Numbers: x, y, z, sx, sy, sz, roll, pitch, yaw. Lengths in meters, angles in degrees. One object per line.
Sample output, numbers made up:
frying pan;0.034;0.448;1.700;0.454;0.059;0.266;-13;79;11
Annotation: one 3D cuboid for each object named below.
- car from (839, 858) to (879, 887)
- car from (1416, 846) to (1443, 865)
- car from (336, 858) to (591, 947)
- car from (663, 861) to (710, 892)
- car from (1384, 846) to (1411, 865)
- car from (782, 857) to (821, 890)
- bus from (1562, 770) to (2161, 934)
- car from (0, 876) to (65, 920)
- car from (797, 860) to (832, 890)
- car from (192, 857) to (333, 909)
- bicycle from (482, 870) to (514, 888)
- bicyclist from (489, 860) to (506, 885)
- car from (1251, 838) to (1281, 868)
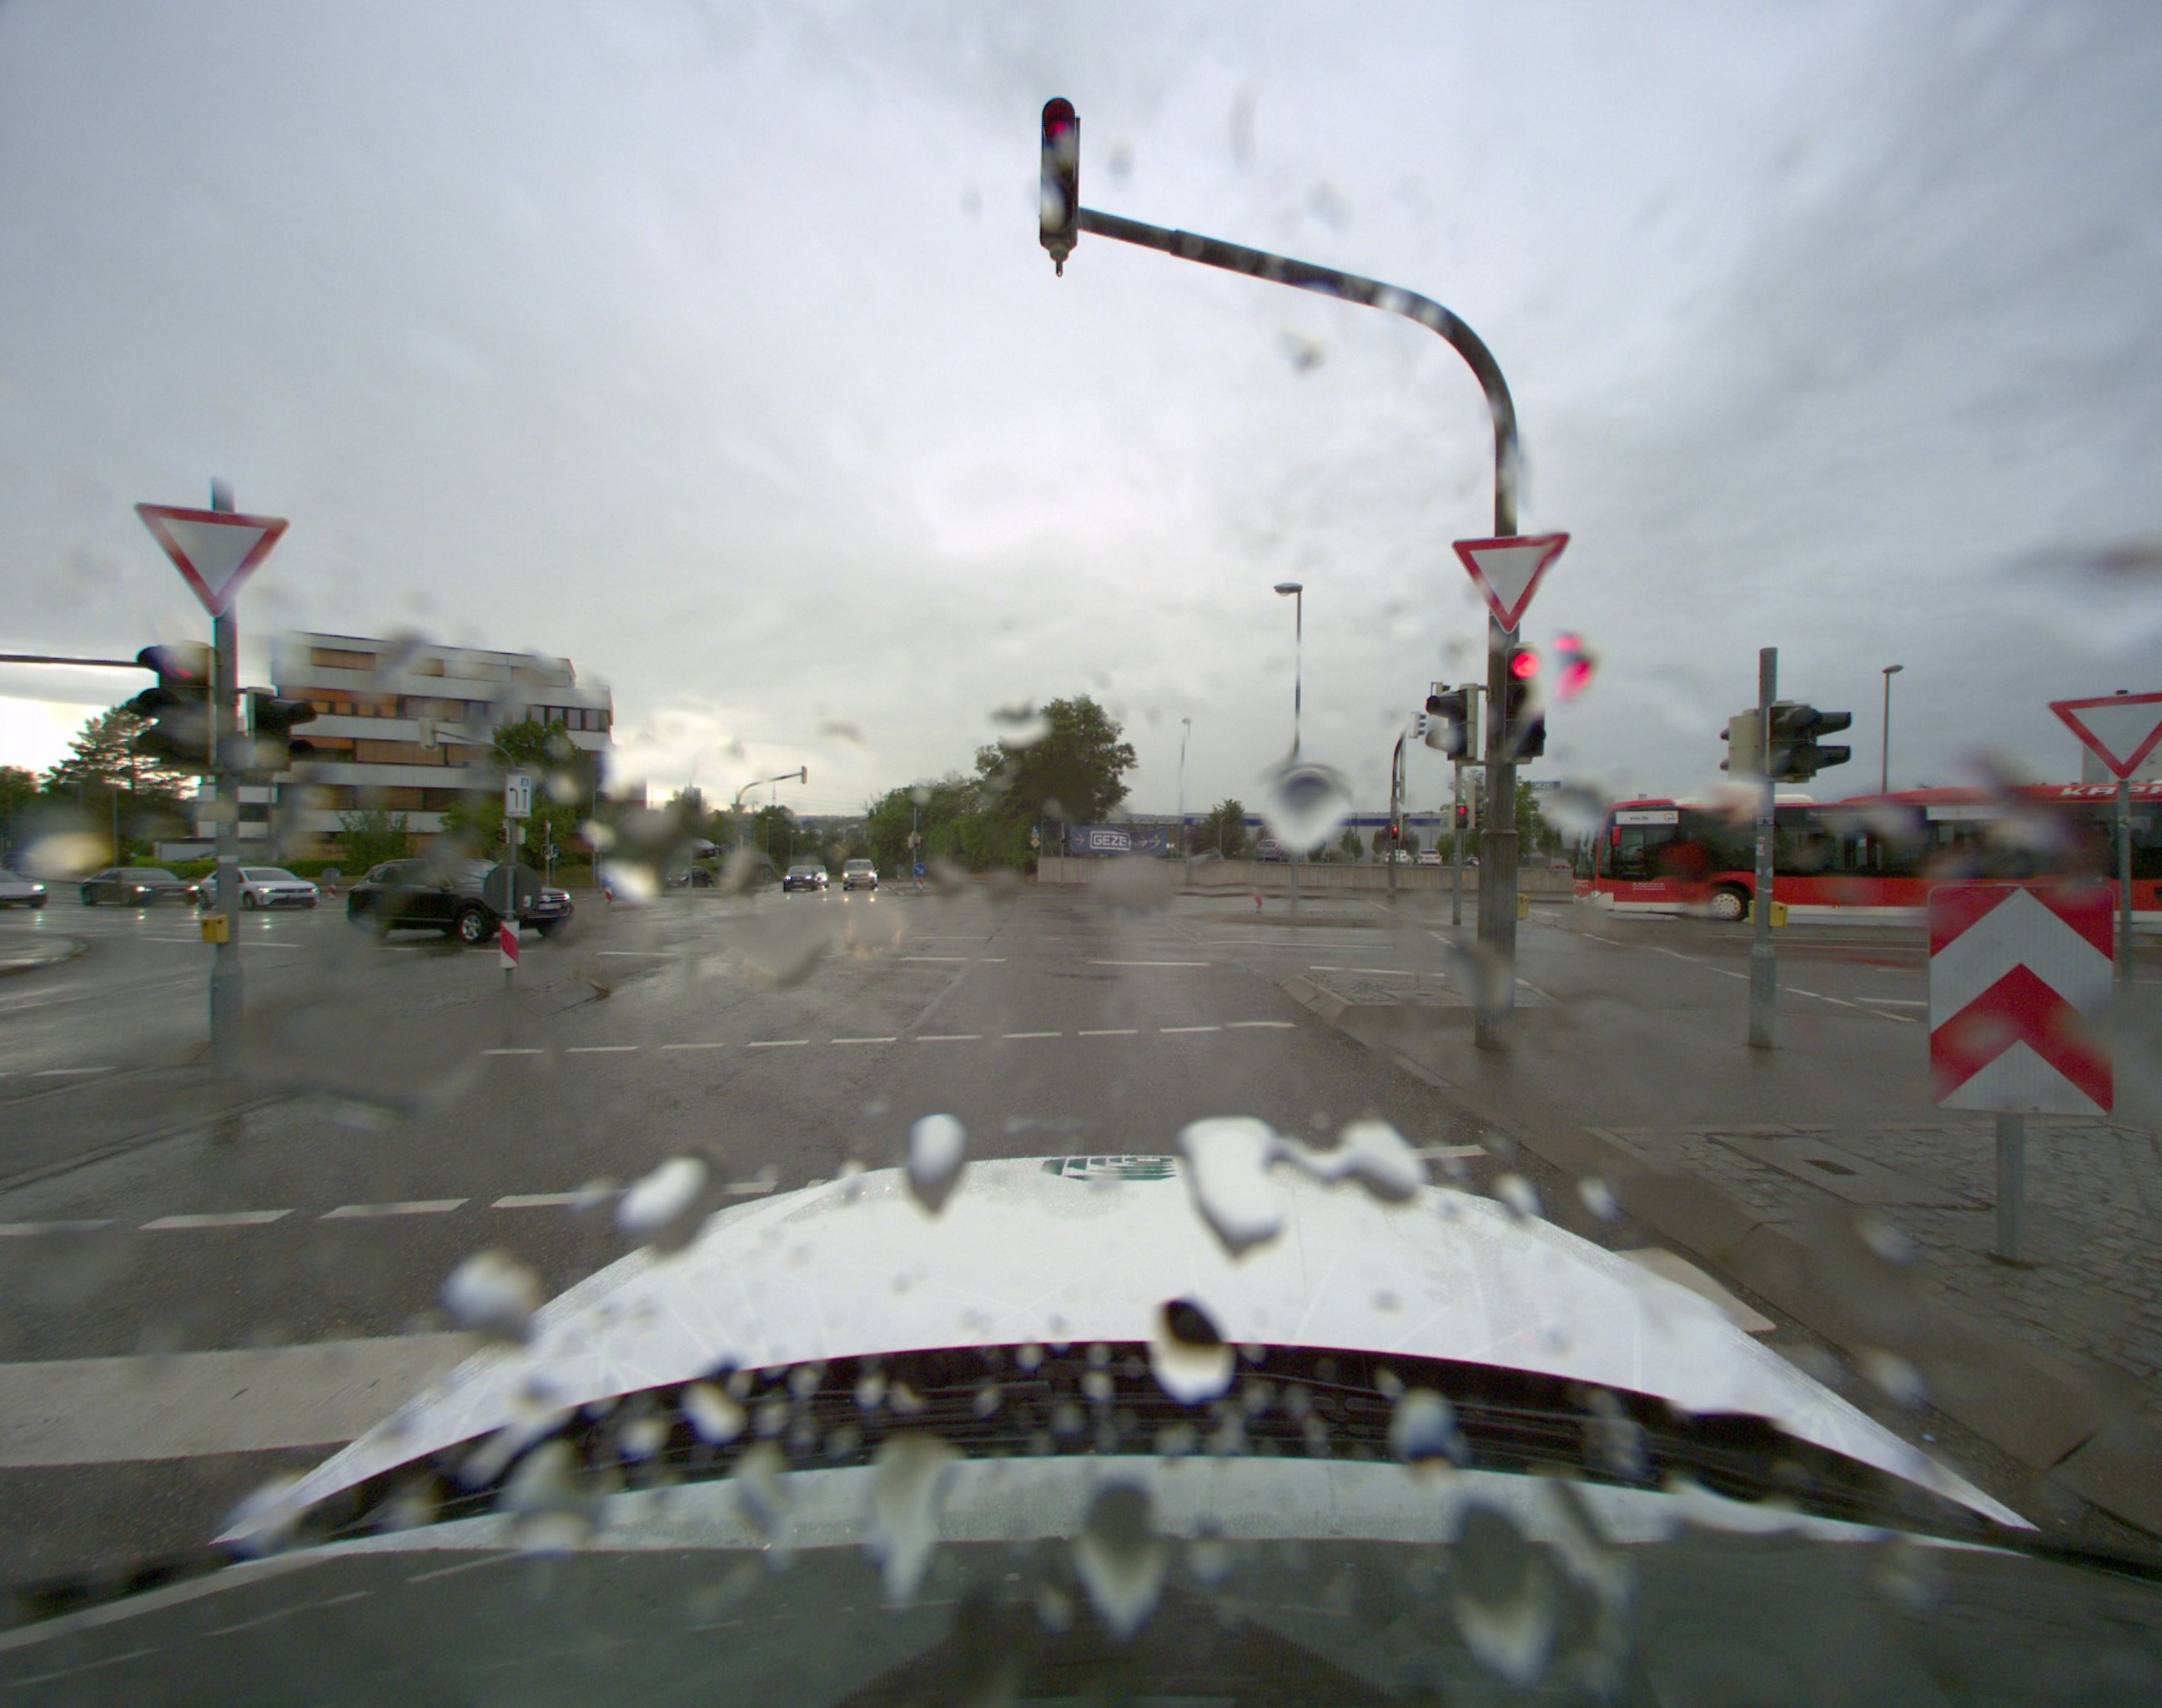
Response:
car;-13.062;1.045;48.057;1.995;1.618;3.985;0;0;-11
car;28.694;0.104;67.161;1.976;1.478;4.021;0;0;21
car;-13.163;0.947;17.430;4.561;1.702;2.009;0;0;16
car;-25.659;1.422;53.117;1.997;1.895;3.979;0;0;-15
car;26.388;0.095;67.841;1.976;1.478;4.021;0;0;22
car;-16.707;1.131;48.834;1.998;1.895;3.978;0;0;-16
bus;18.692;-0.122;19.270;12.177;3.321;3.089;1;0;19
car;-37.723;1.495;28.354;4.392;1.358;1.867;0;0;24
car;-18.278;1.422;55.971;1.996;1.895;3.982;0;0;-13
car;-28.483;0.953;28.350;3.953;1.684;2.010;0;0;21
bicycle;-34.150;1.464;47.681;1.760;1.052;0.613;0;0;18
bicyclist;-34.146;1.080;47.689;0.539;1.446;0.606;0;0;18
car;13.101;-0.077;57.540;1.979;2.013;4.015;0;0;13
